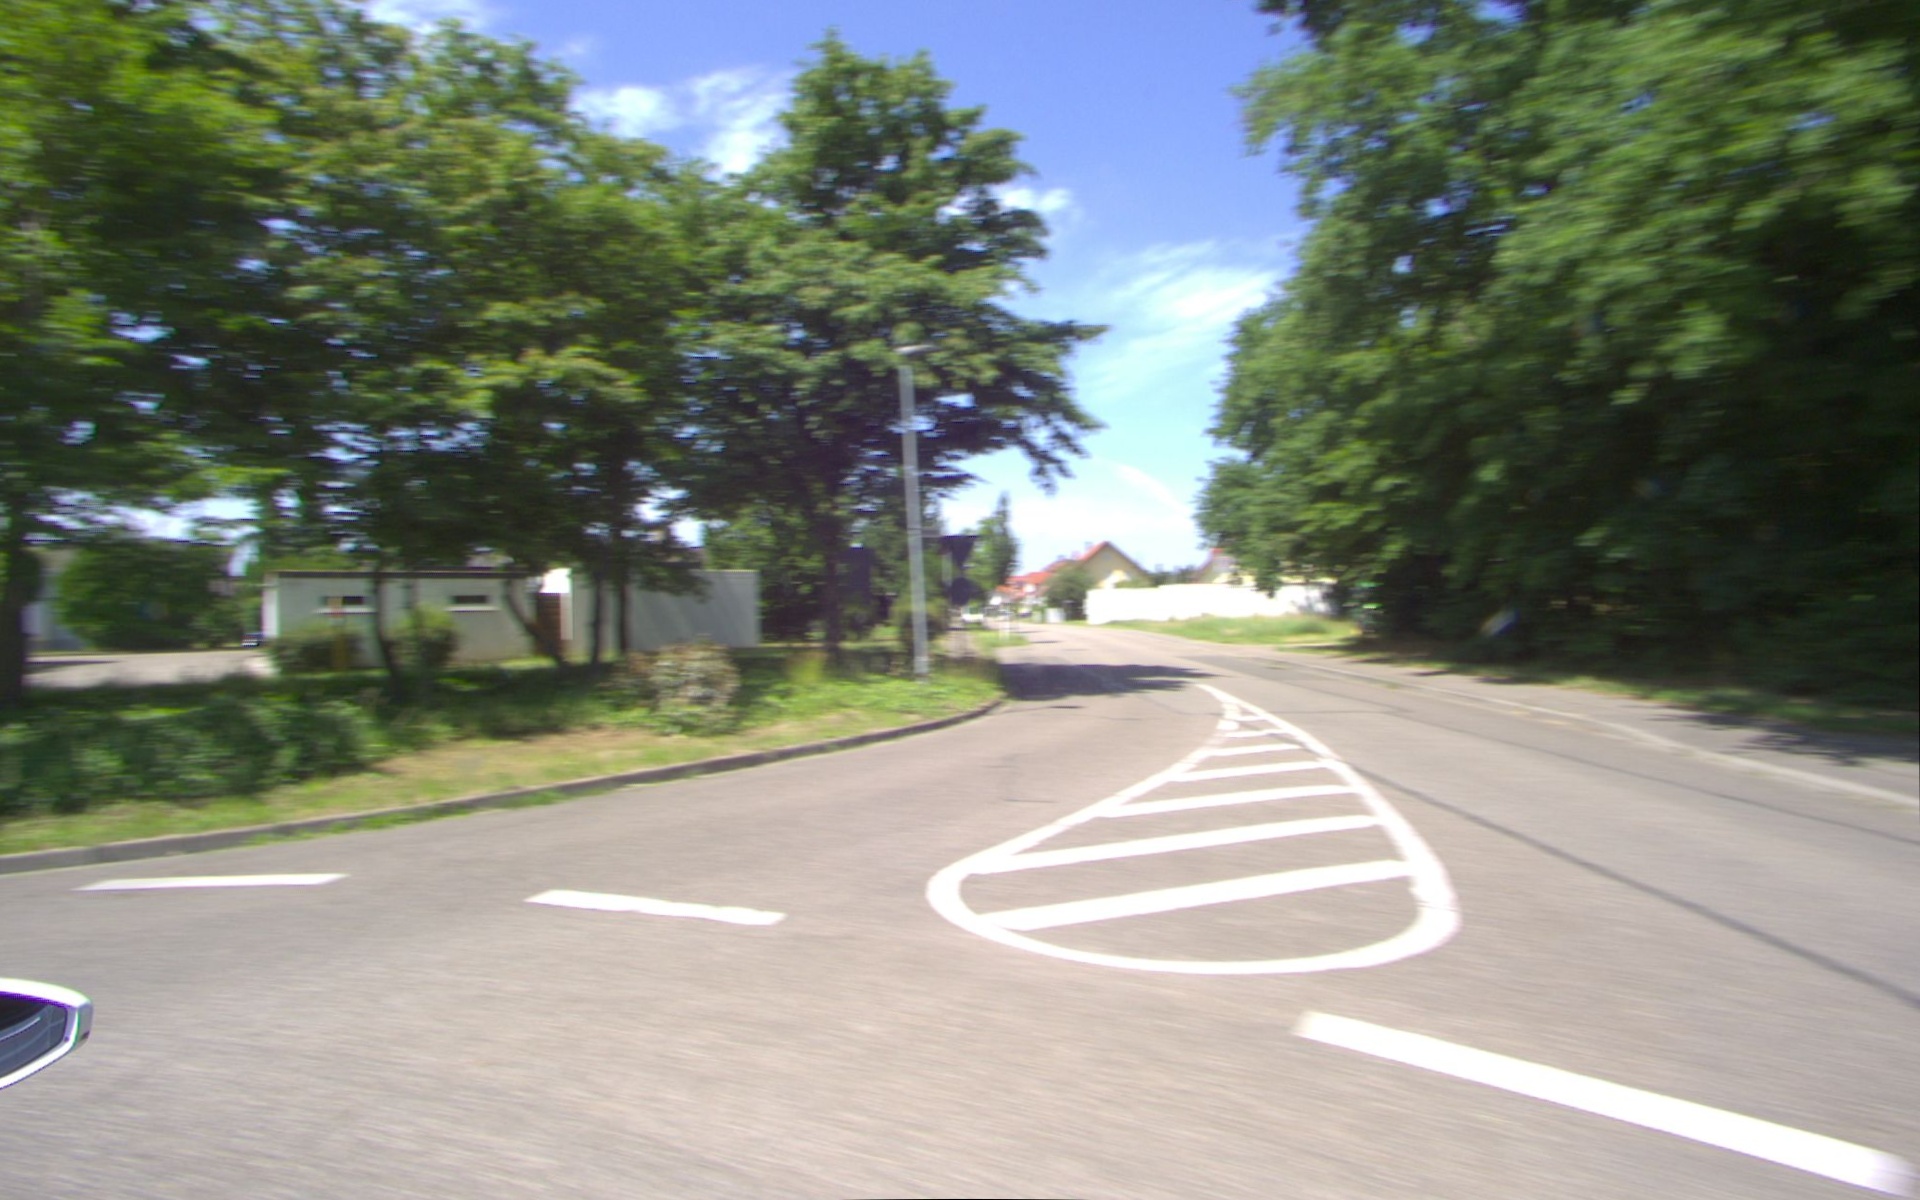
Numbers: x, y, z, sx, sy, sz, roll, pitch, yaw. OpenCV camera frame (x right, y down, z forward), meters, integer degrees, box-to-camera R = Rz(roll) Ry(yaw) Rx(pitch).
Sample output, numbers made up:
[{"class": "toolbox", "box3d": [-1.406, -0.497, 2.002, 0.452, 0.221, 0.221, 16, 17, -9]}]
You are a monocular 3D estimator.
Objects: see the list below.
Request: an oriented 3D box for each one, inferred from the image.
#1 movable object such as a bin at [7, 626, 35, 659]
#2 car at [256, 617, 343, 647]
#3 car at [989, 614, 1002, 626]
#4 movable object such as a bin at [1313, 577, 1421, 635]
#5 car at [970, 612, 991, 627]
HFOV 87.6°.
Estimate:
[{"class": "movable object such as a bin", "box3d": [-32.749, 1.479, 34.915, 0.651, 1.127, 0.453, -1, 1, -39]}, {"class": "car", "box3d": [-30.266, 1.431, 45.908, 3.240, 1.270, 1.561, 0, 0, -39]}, {"class": "car", "box3d": [5.276, 2.953, 149.572, 1.806, 1.682, 4.002, -1, -2, -1]}, {"class": "movable object such as a bin", "box3d": [17.338, 0.261, 43.002, 2.474, 2.306, 5.239, -1, 0, 0]}, {"class": "car", "box3d": [2.062, 1.996, 102.122, 1.725, 1.498, 3.797, -1, -2, -6]}]
